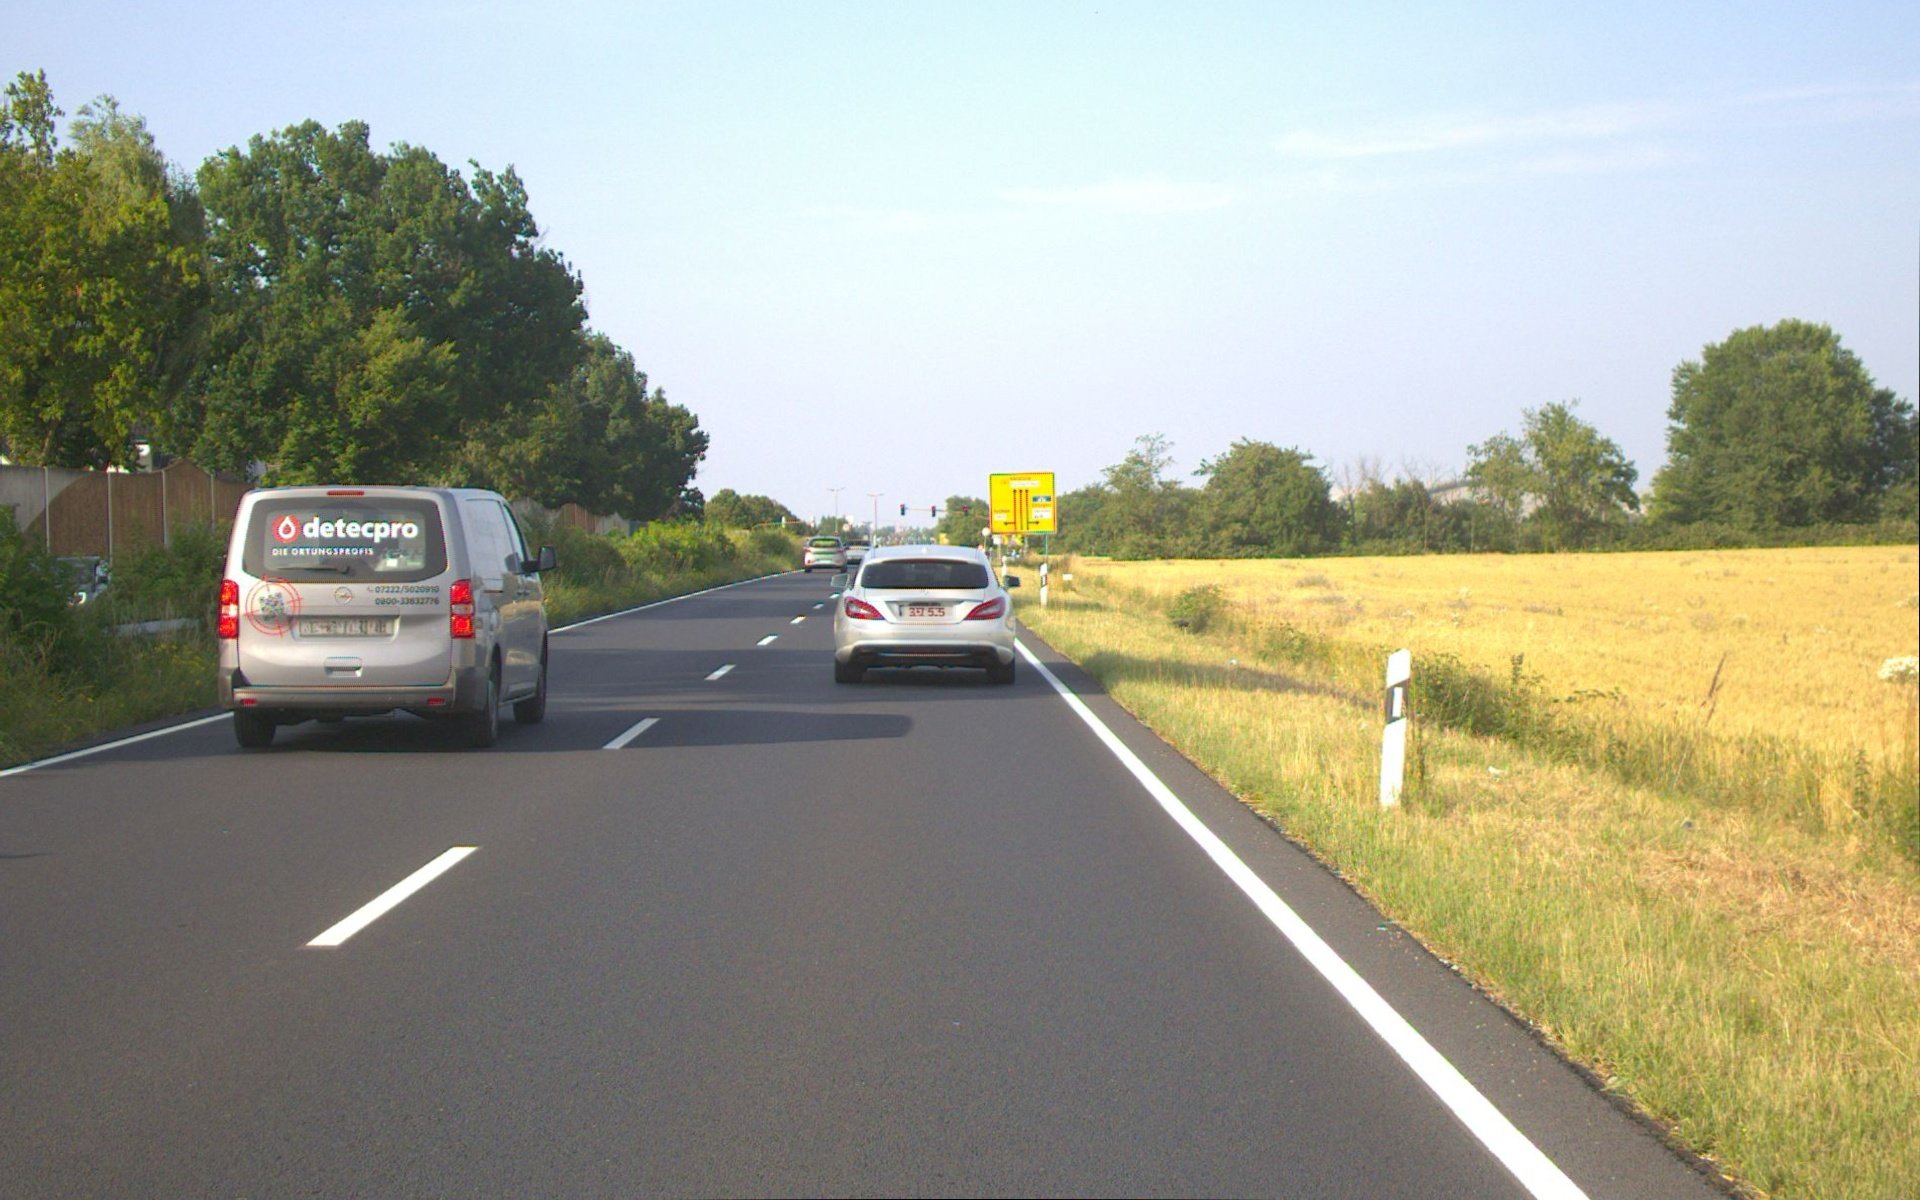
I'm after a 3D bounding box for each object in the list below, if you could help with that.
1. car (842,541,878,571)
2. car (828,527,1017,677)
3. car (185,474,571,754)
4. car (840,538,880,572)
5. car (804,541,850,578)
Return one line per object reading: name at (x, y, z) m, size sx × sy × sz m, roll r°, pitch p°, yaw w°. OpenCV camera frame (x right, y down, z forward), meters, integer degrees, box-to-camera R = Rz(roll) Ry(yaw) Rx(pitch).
car at (-4.836, -2.141, 166.529) m, size 1.640 × 1.405 × 4.000 m, roll 1°, pitch 1°, yaw -1°
car at (-0.396, -0.002, 36.411) m, size 1.894 × 1.503 × 4.000 m, roll 0°, pitch 1°, yaw -1°
car at (-4.249, 0.042, 25.910) m, size 2.025 × 1.885 × 4.958 m, roll 1°, pitch 1°, yaw 0°
car at (-4.871, -2.183, 167.312) m, size 1.877 × 1.645 × 3.664 m, roll 1°, pitch 1°, yaw -2°
car at (-5.444, -1.653, 140.917) m, size 1.717 × 1.487 × 3.584 m, roll 1°, pitch 1°, yaw 0°
